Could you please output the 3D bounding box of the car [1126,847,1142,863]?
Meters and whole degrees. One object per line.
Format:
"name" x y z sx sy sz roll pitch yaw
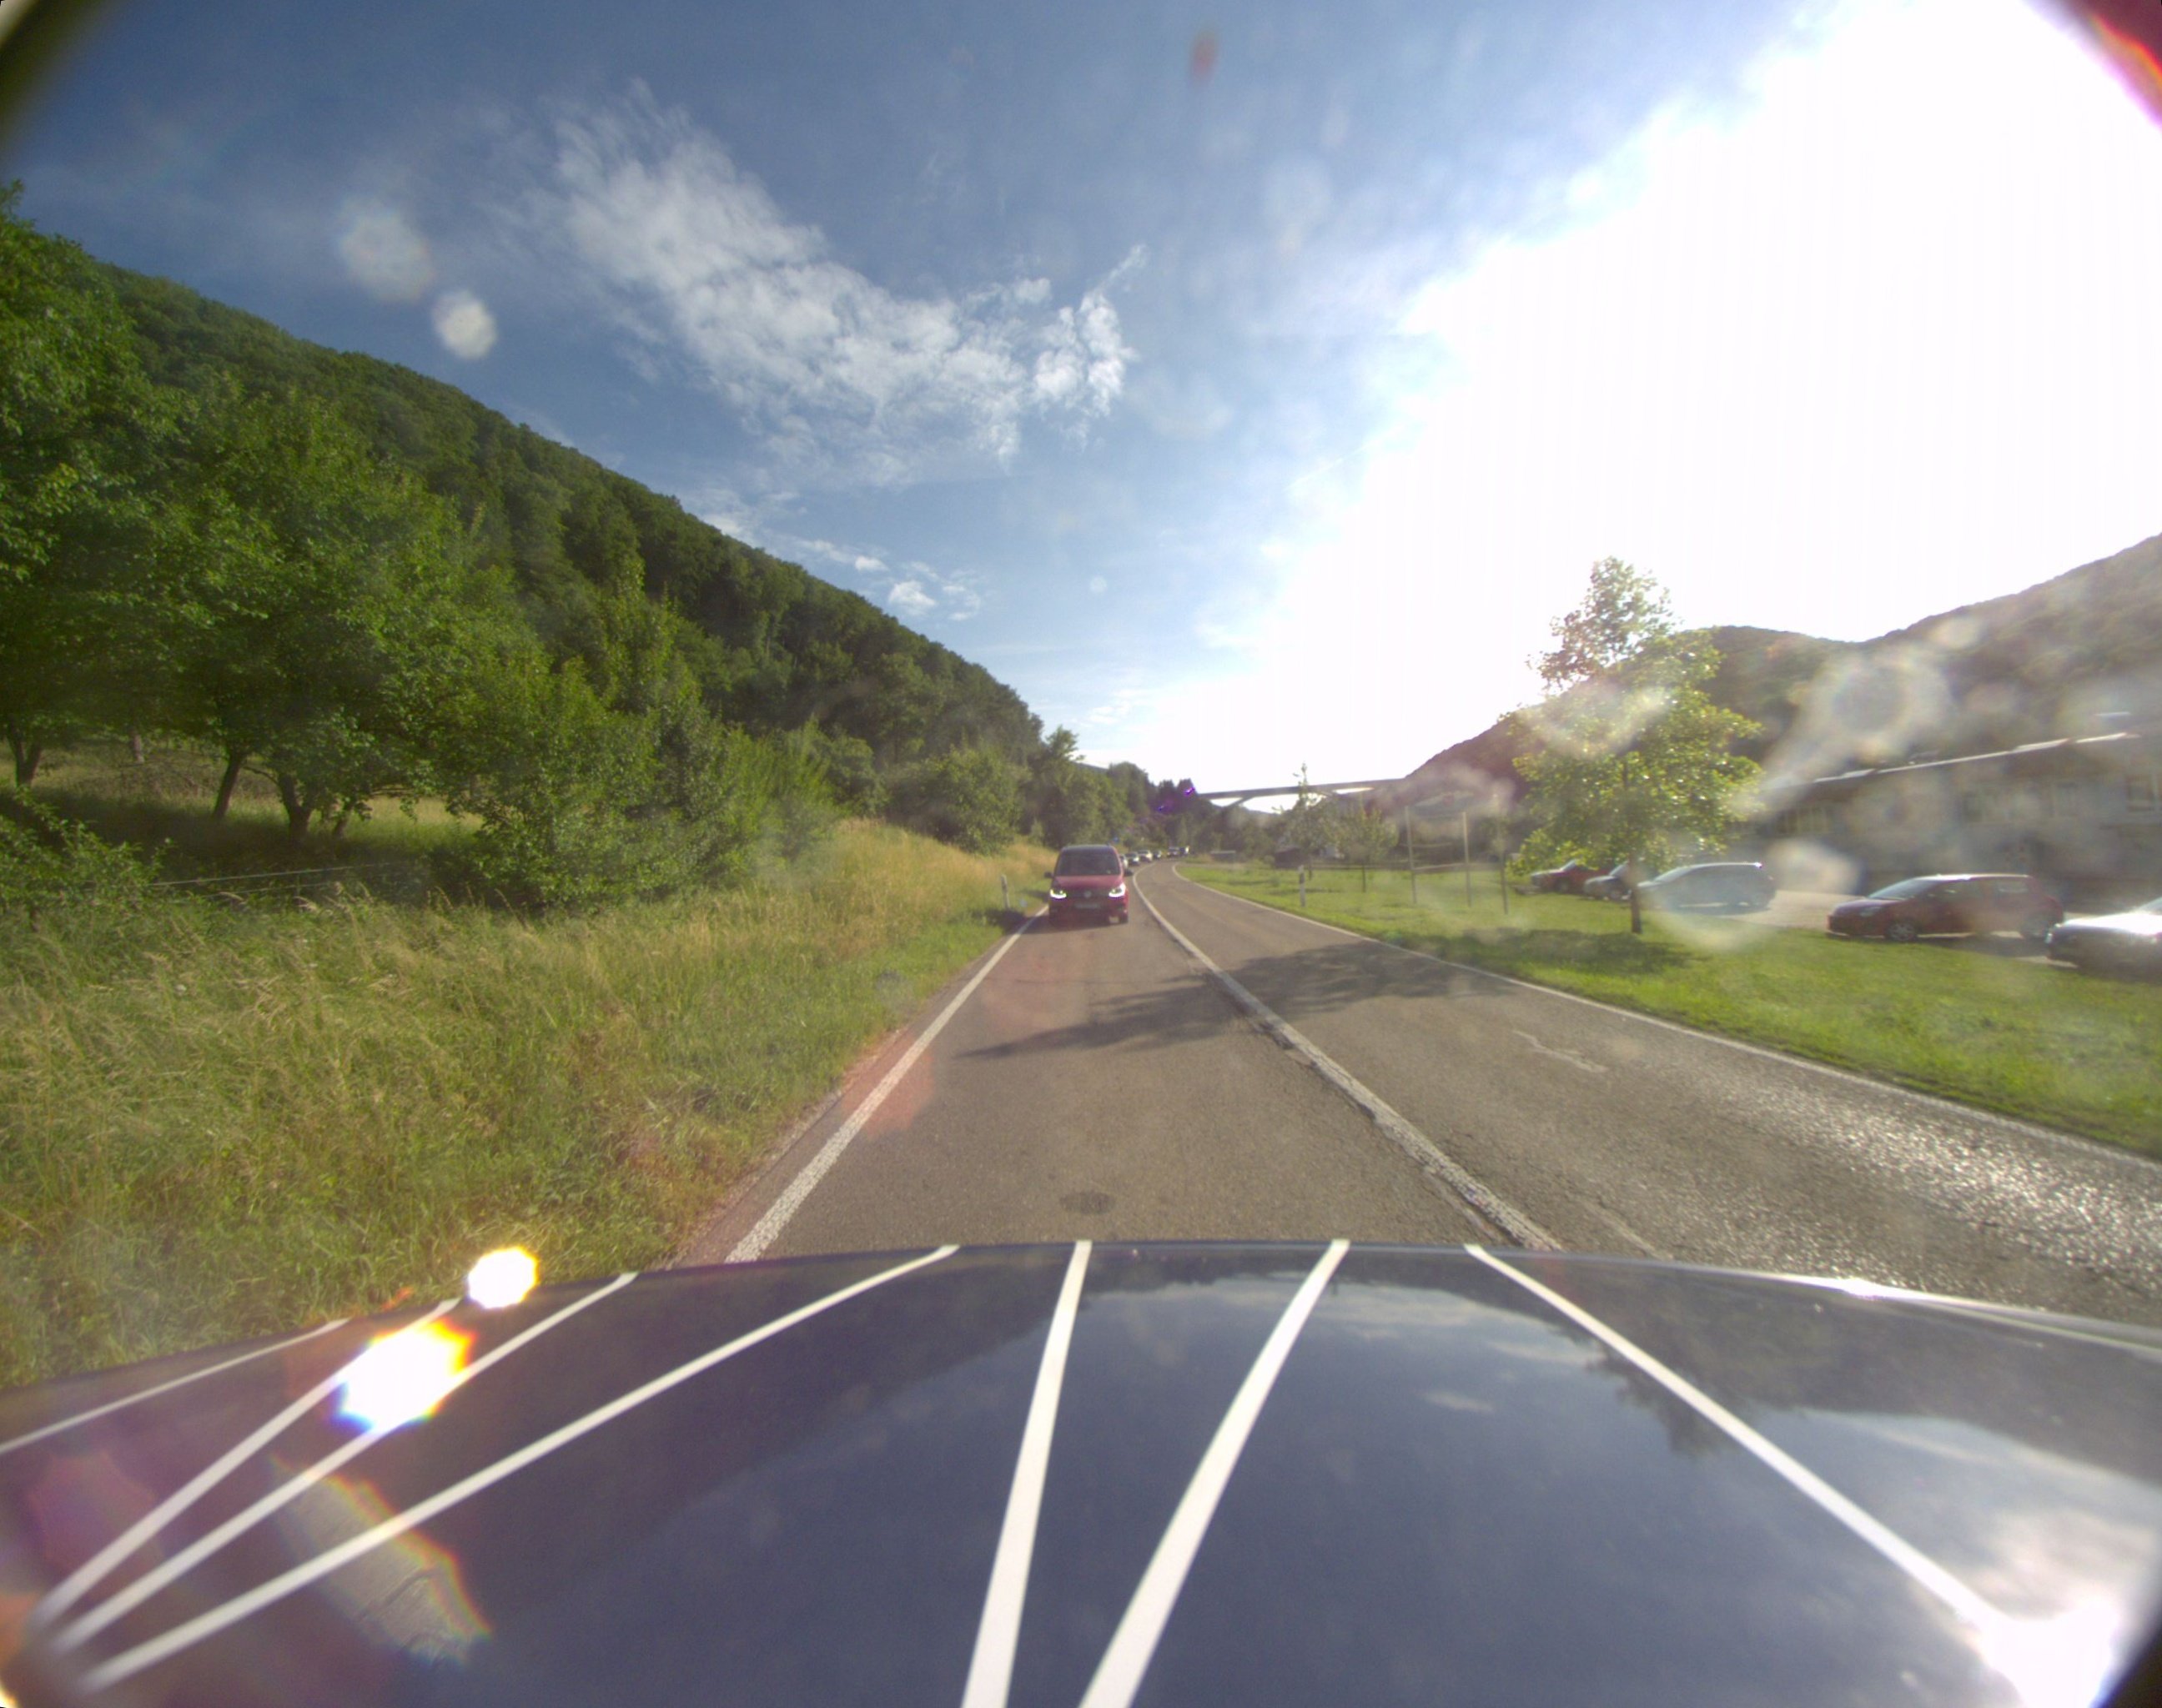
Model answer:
"car" 5.582 0.091 80.367 1.629 1.470 3.680 -2 1 4

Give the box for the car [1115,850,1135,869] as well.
"car" 3.787 0.480 65.421 1.629 1.470 3.680 -2 1 4

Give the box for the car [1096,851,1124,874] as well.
"car" 2.140 0.608 54.973 1.629 1.470 3.681 -2 1 8

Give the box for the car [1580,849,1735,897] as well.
"car" 24.247 0.805 32.130 5.000 1.783 1.685 -2 1 10

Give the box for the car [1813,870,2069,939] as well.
"car" 19.970 1.167 17.818 3.727 1.390 1.617 -2 1 12

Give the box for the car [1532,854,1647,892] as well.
"car" 25.021 0.919 37.536 4.327 1.659 1.850 -2 1 16

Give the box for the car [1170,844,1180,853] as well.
"car" 16.320 -0.918 131.693 1.629 1.470 3.681 -2 1 7

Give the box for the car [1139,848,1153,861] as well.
"car" 8.188 0.035 95.491 1.629 1.470 3.680 -2 1 4

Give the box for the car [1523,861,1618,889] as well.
"car" 26.174 1.115 40.757 3.892 1.360 1.854 -1 1 13

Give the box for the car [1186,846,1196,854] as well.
"car" 22.082 -0.806 152.312 1.629 1.470 3.682 -2 1 11

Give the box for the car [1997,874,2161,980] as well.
"car" 19.224 1.163 12.824 4.546 1.546 2.001 -2 1 12

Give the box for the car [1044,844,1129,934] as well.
"car" 0.236 0.689 17.481 1.649 1.762 4.000 -2 1 4

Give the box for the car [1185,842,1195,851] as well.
"car" 20.751 -1.454 144.081 1.629 1.470 3.682 -2 1 11

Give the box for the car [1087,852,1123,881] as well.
"car" 1.407 0.680 43.537 1.629 1.470 3.681 -2 1 8

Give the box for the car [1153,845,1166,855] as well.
"car" 11.854 -0.586 114.569 1.629 1.470 3.682 -2 1 11

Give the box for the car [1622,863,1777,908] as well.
"car" 22.334 1.130 27.583 4.014 1.443 1.686 -2 -1 10
